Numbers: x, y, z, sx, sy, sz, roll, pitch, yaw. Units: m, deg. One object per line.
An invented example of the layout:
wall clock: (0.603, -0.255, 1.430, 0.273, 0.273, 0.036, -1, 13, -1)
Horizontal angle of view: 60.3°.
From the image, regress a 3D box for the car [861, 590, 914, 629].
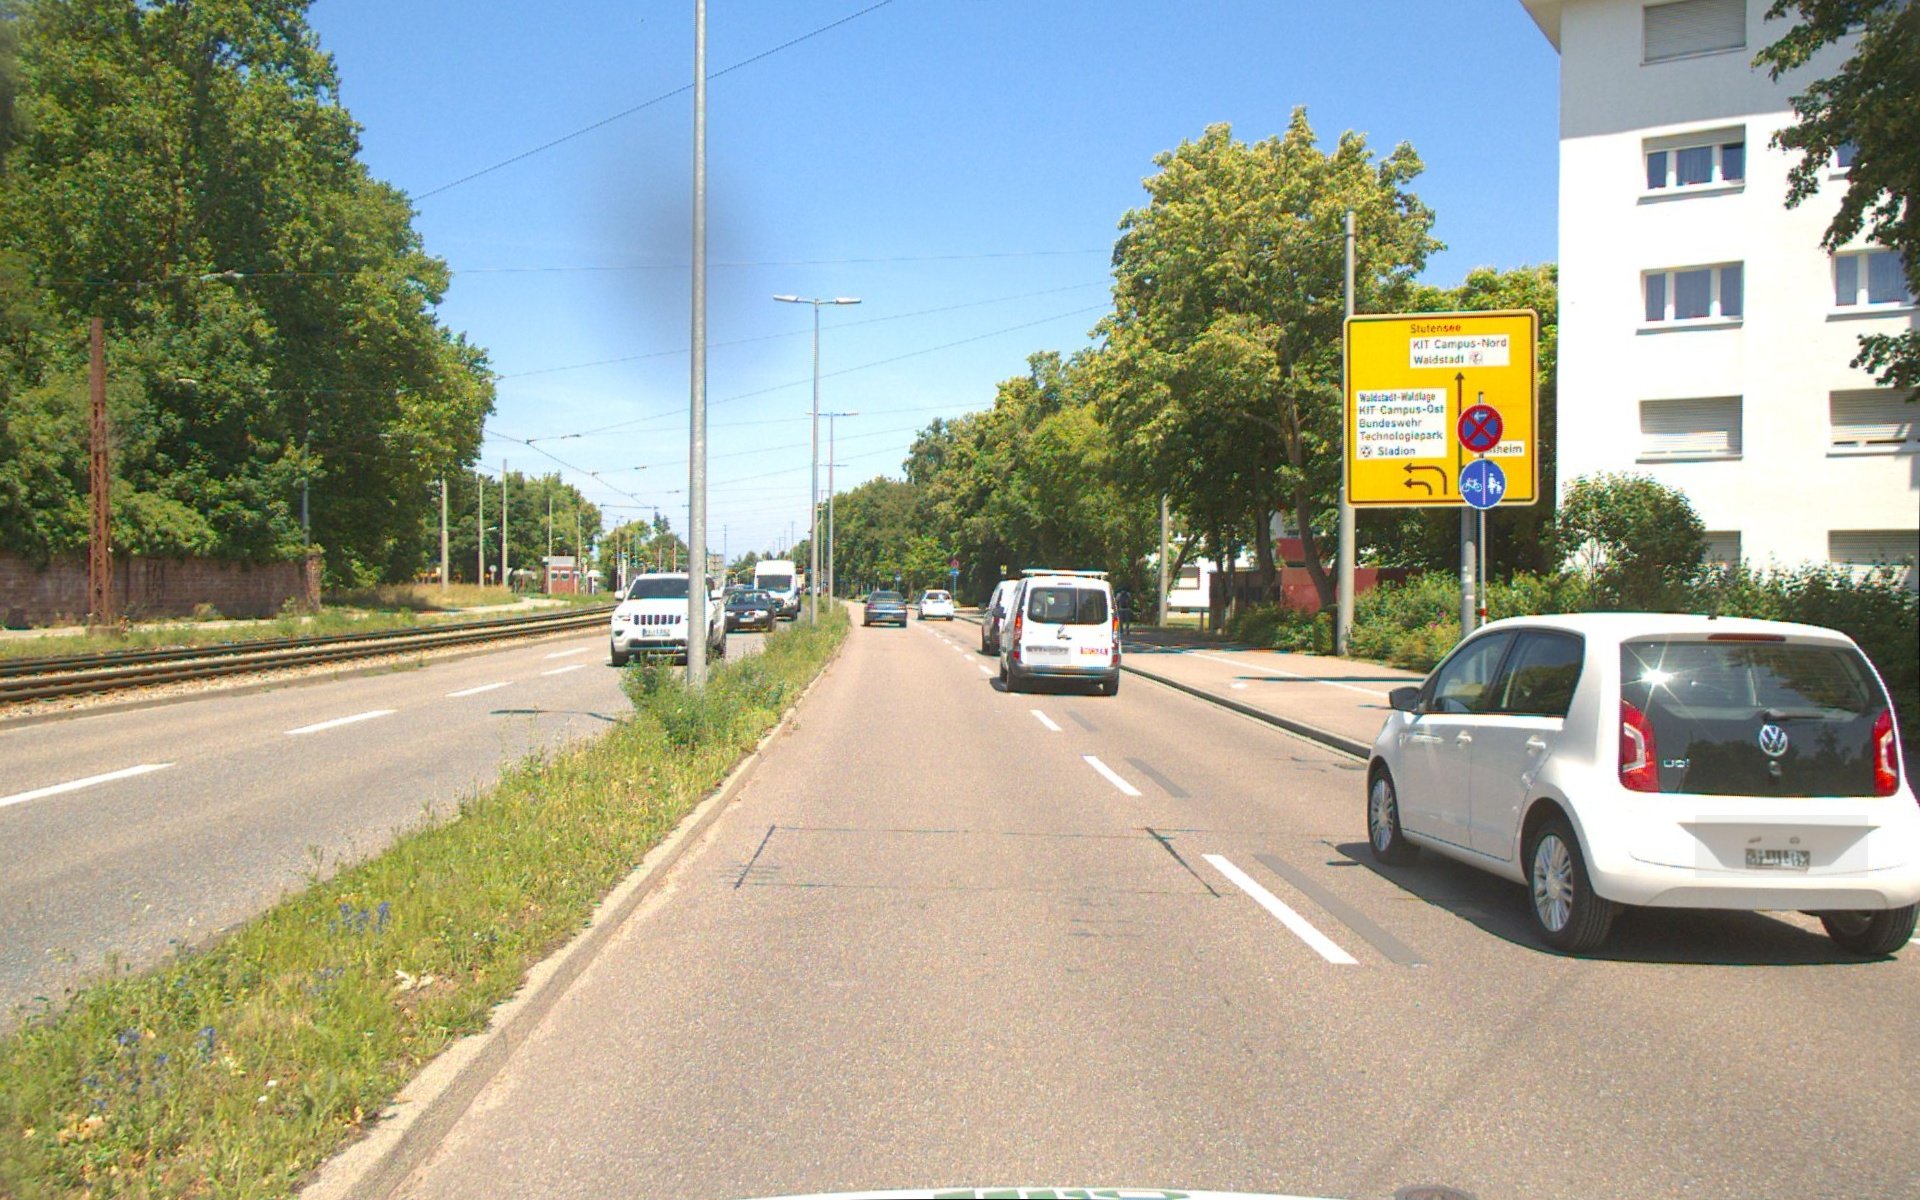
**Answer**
car: (-2.934, 0.356, 66.401, 1.768, 1.512, 3.993, 1, 0, -8)

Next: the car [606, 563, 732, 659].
car: (-5.714, 0.177, 33.020, 1.862, 1.779, 4.585, 0, 1, -2)

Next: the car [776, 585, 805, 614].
car: (-10.819, -0.033, 105.892, 1.793, 1.787, 4.483, -1, 0, -5)

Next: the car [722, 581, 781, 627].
car: (-6.970, 0.106, 55.554, 1.682, 1.484, 3.911, 0, 1, -3)

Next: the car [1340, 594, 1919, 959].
car: (3.383, 0.731, 8.759, 1.626, 1.474, 3.852, 2, 0, -3)

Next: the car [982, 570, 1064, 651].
car: (1.505, 0.235, 40.960, 1.693, 1.845, 3.999, 2, 0, -2)

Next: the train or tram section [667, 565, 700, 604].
train or tram section: (-30.066, -1.595, 181.035, 2.736, 3.732, 37.445, 1, 0, -8)

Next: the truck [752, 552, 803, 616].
truck: (-8.366, -0.737, 76.212, 2.040, 2.796, 5.543, -1, 1, -3)

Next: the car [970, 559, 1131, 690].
car: (1.383, 0.355, 27.043, 1.790, 1.914, 4.448, 2, 0, -8)

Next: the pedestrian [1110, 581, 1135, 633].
pedestrian: (5.326, 0.215, 54.113, 0.655, 1.672, 0.856, 1, 0, -4)

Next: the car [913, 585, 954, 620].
car: (-1.364, 0.127, 84.954, 1.768, 1.566, 3.997, 5, -1, -4)
